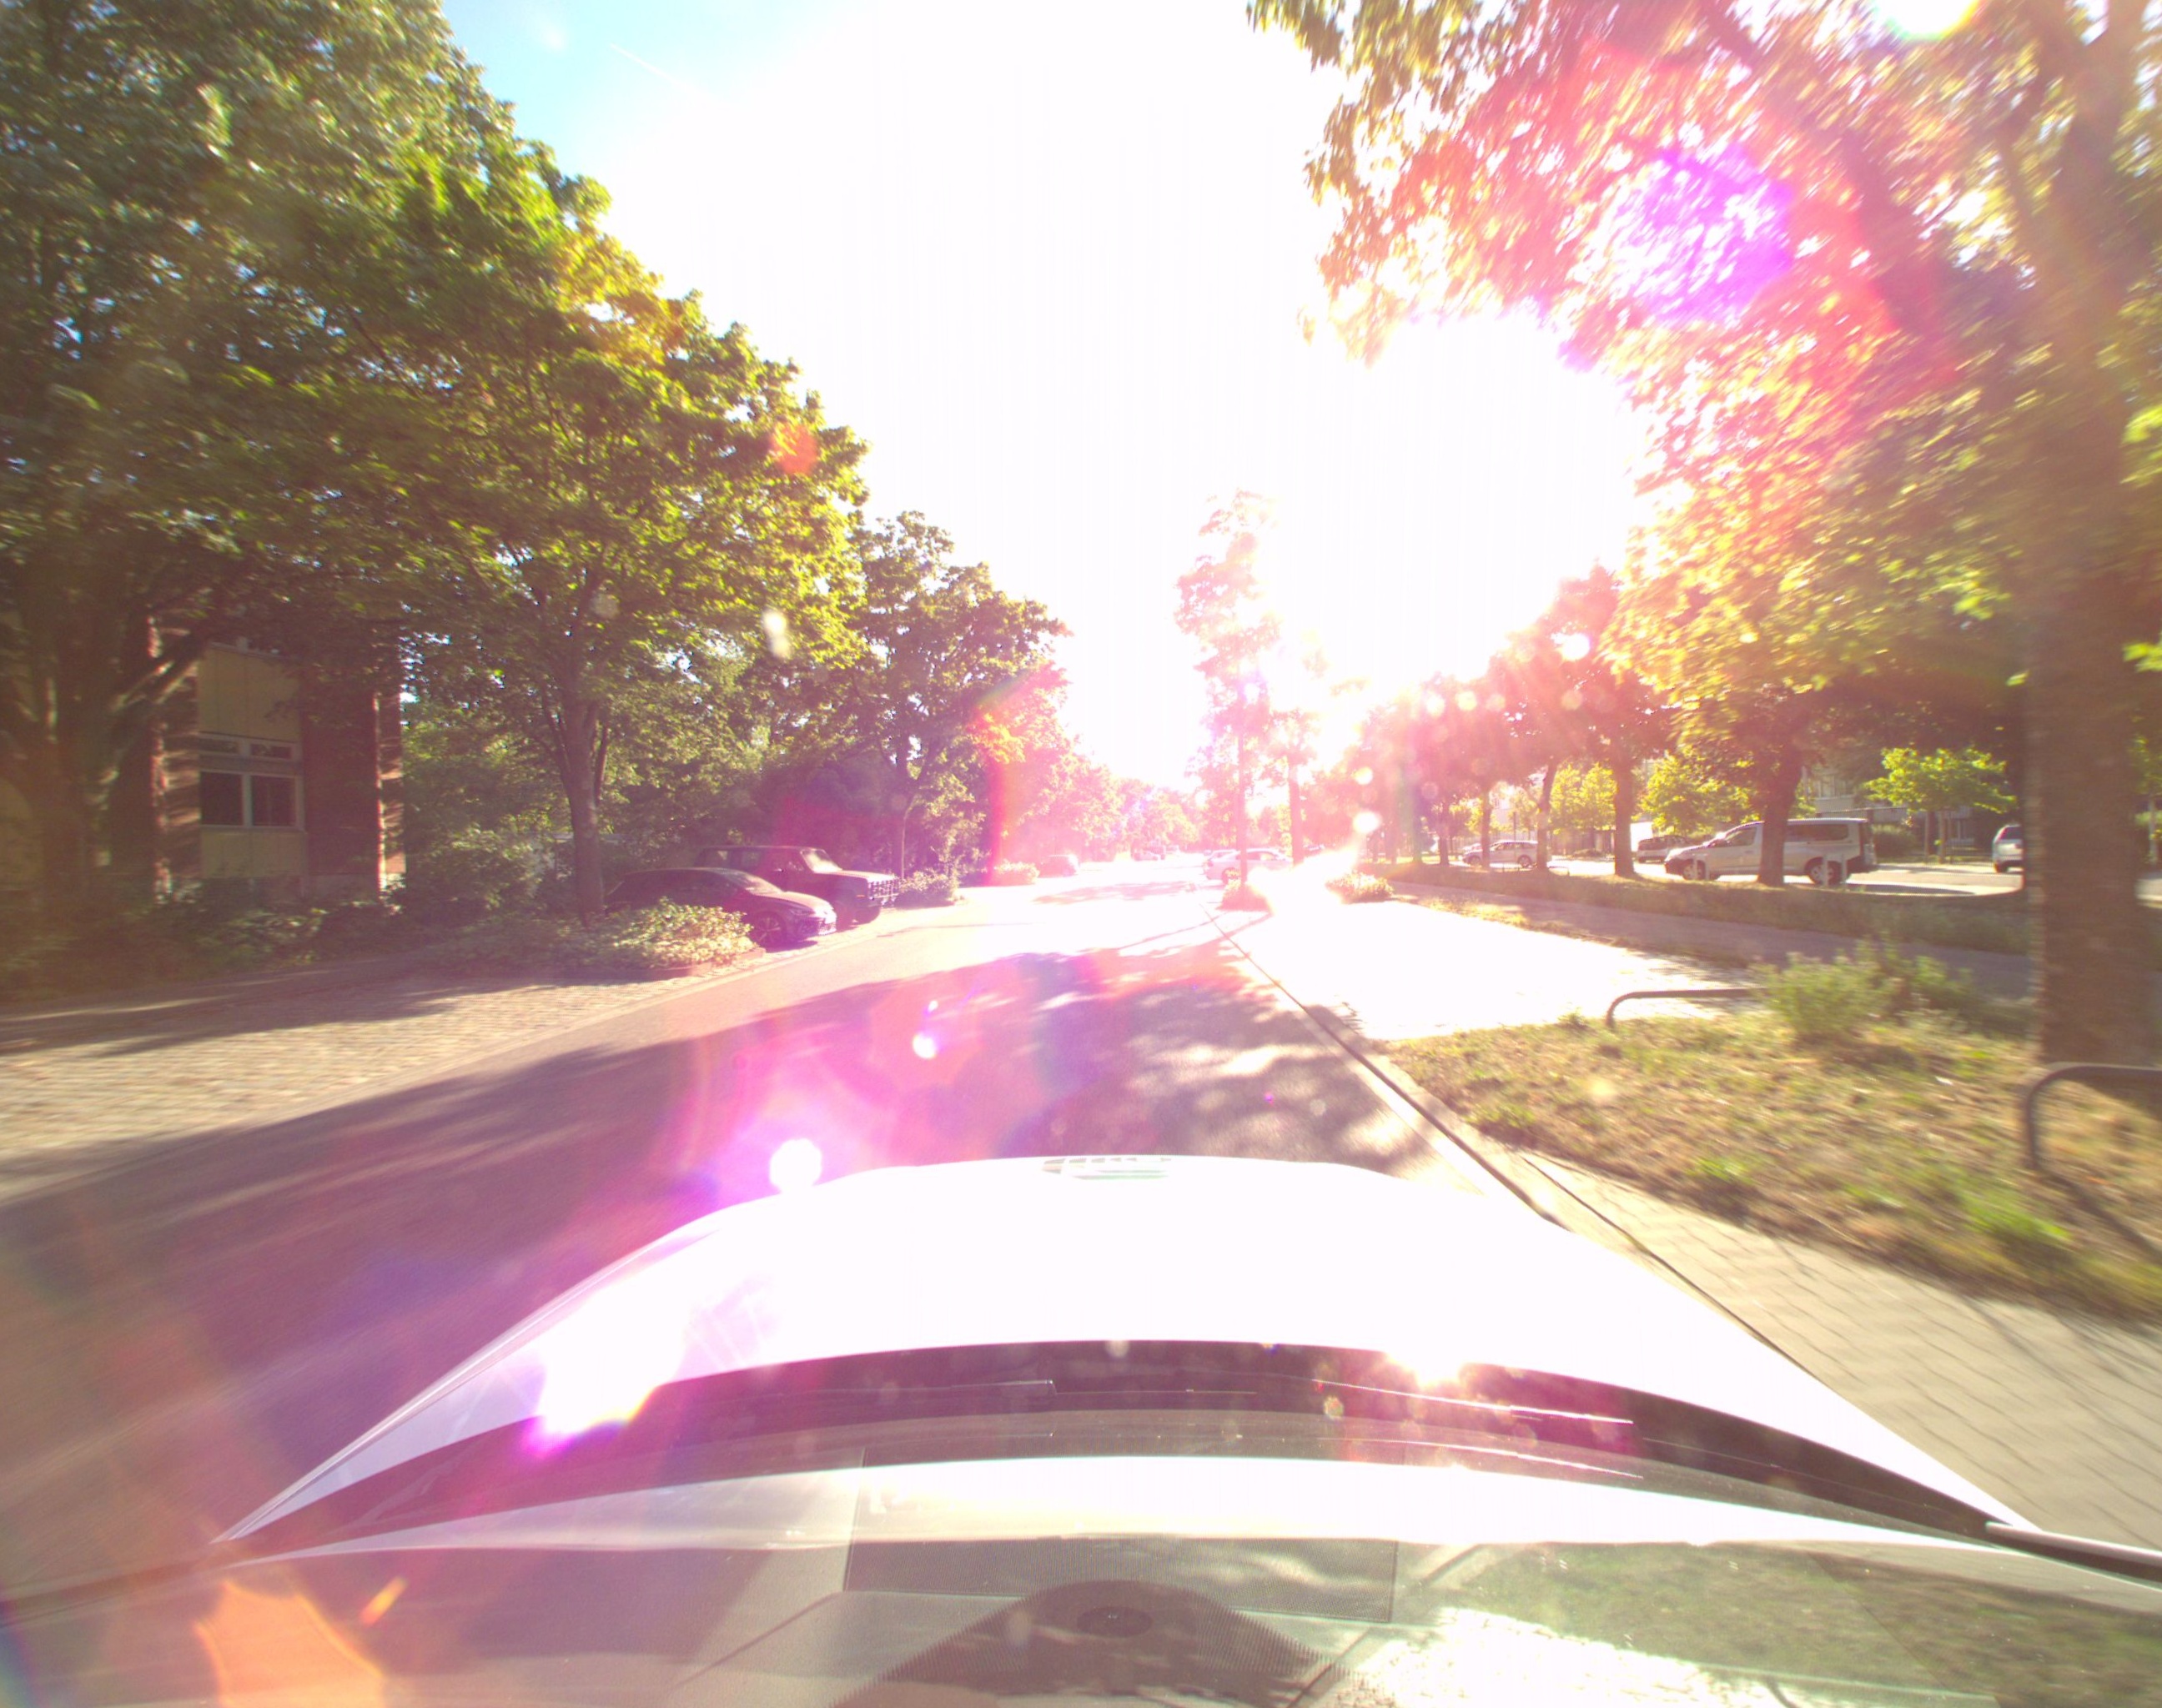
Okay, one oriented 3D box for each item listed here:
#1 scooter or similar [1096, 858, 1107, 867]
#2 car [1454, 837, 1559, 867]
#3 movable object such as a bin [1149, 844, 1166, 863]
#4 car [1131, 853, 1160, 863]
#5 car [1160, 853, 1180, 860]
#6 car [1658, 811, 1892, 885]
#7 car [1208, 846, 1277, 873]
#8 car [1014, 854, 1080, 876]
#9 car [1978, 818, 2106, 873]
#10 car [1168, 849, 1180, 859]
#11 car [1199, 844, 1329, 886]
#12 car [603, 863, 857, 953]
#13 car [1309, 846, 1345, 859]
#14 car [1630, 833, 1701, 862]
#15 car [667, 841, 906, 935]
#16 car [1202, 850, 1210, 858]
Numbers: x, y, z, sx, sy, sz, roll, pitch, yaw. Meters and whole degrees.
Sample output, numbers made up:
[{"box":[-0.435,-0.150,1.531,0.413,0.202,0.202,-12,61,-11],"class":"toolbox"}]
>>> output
[{"box":[2.942,1.233,115.606,1.593,1.145,0.570,-1,-1,-40],"class":"scooter or similar"},{"box":[24.068,-0.099,46.199,2.011,1.574,4.893,-2,0,-43],"class":"car"},{"box":[13.338,-0.054,141.819,2.824,3.068,4.935,-2,0,6],"class":"movable object such as a bin"},{"box":[10.307,0.638,129.072,4.330,1.547,2.006,-2,0,11],"class":"car"},{"box":[19.795,0.527,181.627,4.339,1.479,2.002,-2,0,3],"class":"car"},{"box":[20.206,-0.173,23.941,2.009,1.933,4.899,-2,1,-36],"class":"car"},{"box":[10.933,0.381,55.125,4.324,1.479,2.009,-4,-1,17],"class":"car"},{"box":[-2.328,0.773,56.745,4.335,1.479,2.004,0,0,7],"class":"car"},{"box":[29.665,-0.271,25.114,4.326,1.528,1.789,-2,0,-30],"class":"car"},{"box":[21.778,0.017,190.803,2.506,2.386,4.377,-2,0,3],"class":"car"},{"box":[7.752,0.473,34.945,5.151,1.574,2.160,-2,0,4],"class":"car"},{"box":[-6.772,1.024,15.999,4.194,1.530,1.707,-2,0,3],"class":"car"},{"box":[33.150,-0.202,109.729,4.403,1.706,2.064,-2,0,9],"class":"car"},{"box":[33.184,-0.378,46.205,4.319,1.527,1.749,-2,0,-32],"class":"car"},{"box":[-7.083,0.792,20.001,4.984,2.020,2.176,-2,0,3],"class":"car"},{"box":[30.295,0.081,197.543,1.982,1.904,4.009,-2,0,8],"class":"car"}]
